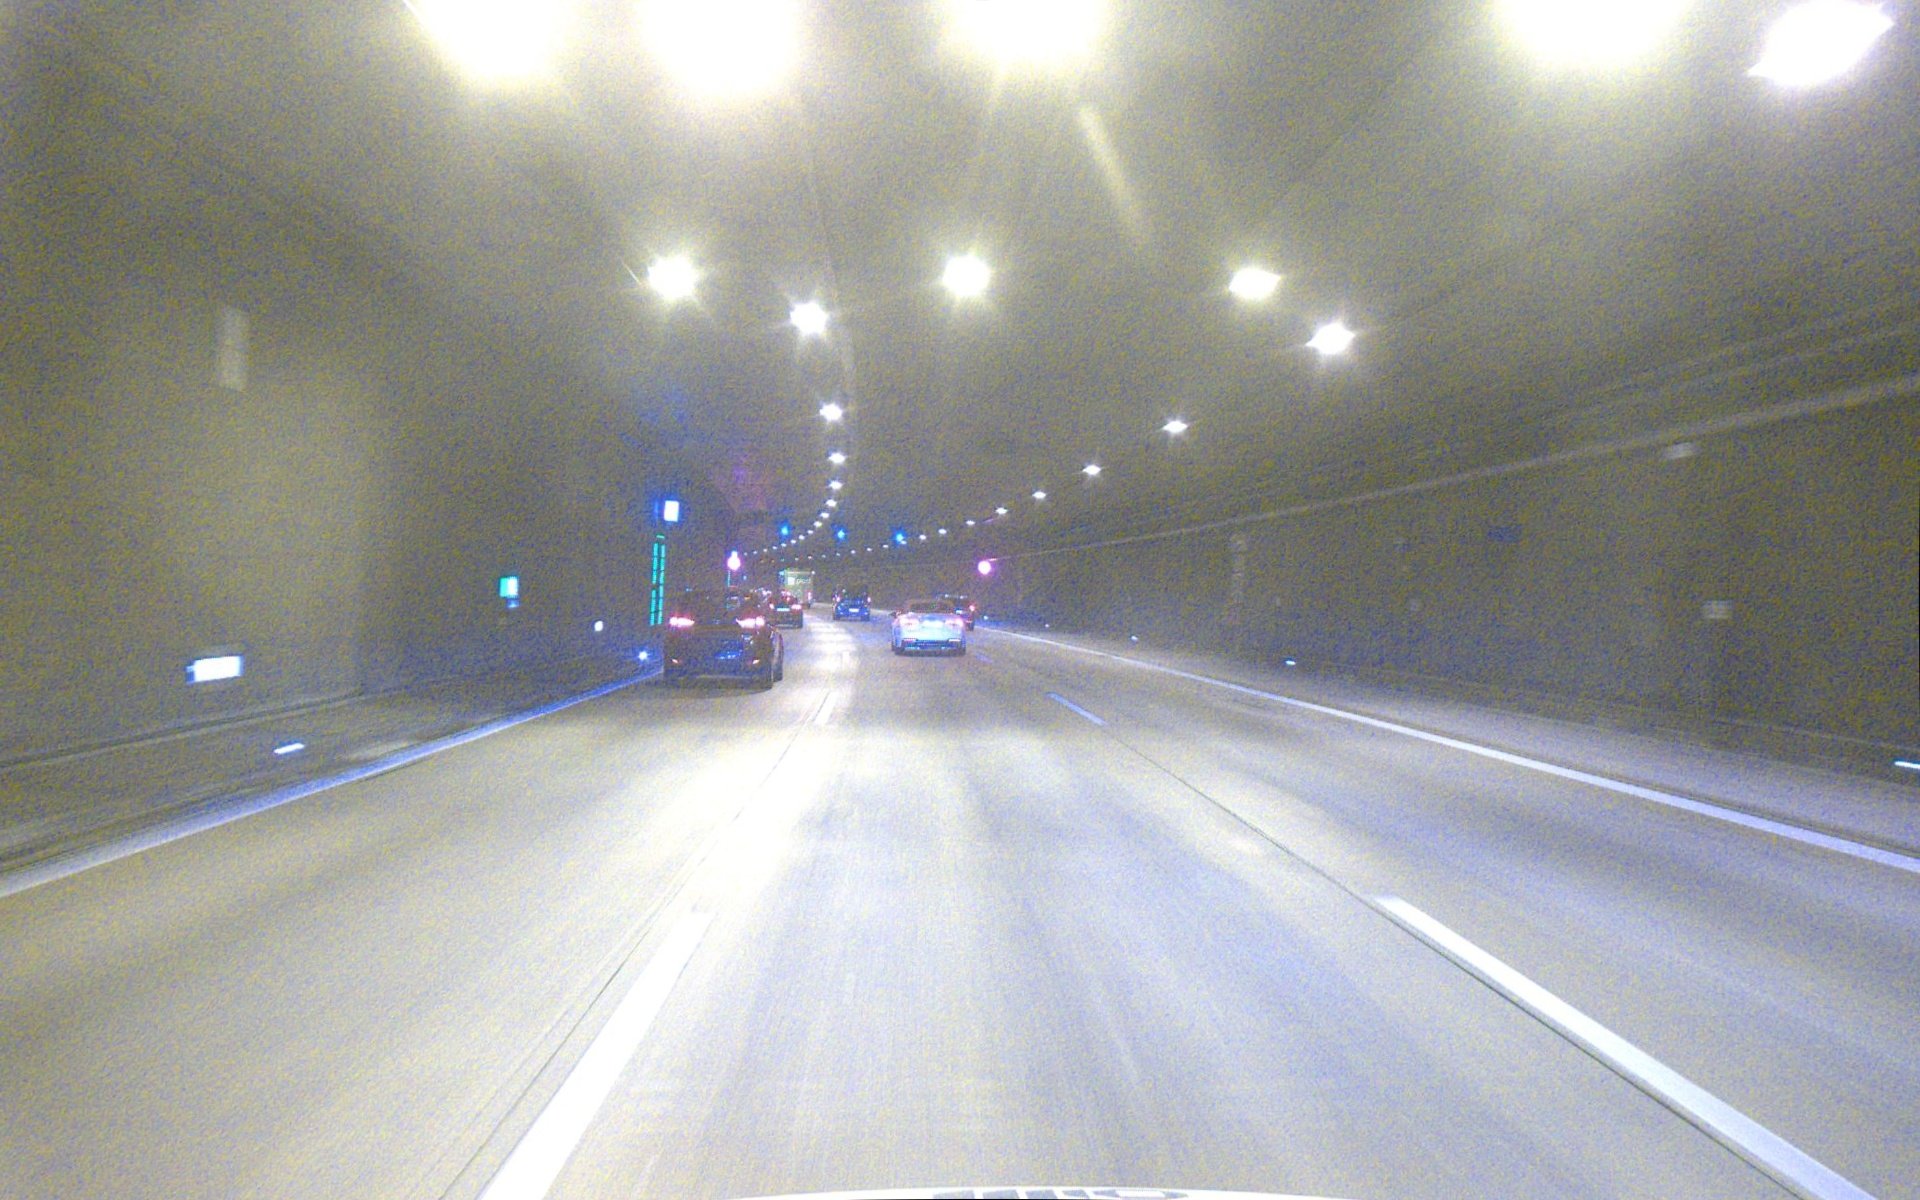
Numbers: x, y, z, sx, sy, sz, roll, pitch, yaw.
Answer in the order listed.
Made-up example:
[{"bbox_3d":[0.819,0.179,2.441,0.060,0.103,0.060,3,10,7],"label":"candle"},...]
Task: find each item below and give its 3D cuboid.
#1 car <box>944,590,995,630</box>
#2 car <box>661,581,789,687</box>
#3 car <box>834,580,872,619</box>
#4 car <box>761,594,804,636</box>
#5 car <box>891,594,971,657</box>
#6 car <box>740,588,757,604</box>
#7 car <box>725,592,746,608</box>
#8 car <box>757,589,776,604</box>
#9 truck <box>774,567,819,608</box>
[{"bbox_3d":[0.391,0.419,71.300,1.804,1.630,3.996,1,0,-5],"label":"car"},{"bbox_3d":[-3.845,0.523,27.593,1.750,1.626,3.799,0,0,-3],"label":"car"},{"bbox_3d":[-5.794,-0.030,89.527,1.954,2.006,3.997,1,0,-4],"label":"car"},{"bbox_3d":[-7.622,0.626,71.183,1.765,1.713,3.995,1,0,-5],"label":"car"},{"bbox_3d":[-0.789,0.620,42.745,1.953,1.509,3.998,1,0,-2],"label":"car"},{"bbox_3d":[-24.313,-0.414,190.002,1.956,1.785,3.993,2,0,-8],"label":"car"},{"bbox_3d":[-23.598,0.015,173.691,1.958,1.557,3.989,2,0,-11],"label":"car"},{"bbox_3d":[-23.947,-0.392,204.560,1.959,1.785,3.986,2,0,-13],"label":"car"},{"bbox_3d":[-13.816,-1.113,138.996,3.026,3.167,10.008,2,1,-9],"label":"truck"}]
